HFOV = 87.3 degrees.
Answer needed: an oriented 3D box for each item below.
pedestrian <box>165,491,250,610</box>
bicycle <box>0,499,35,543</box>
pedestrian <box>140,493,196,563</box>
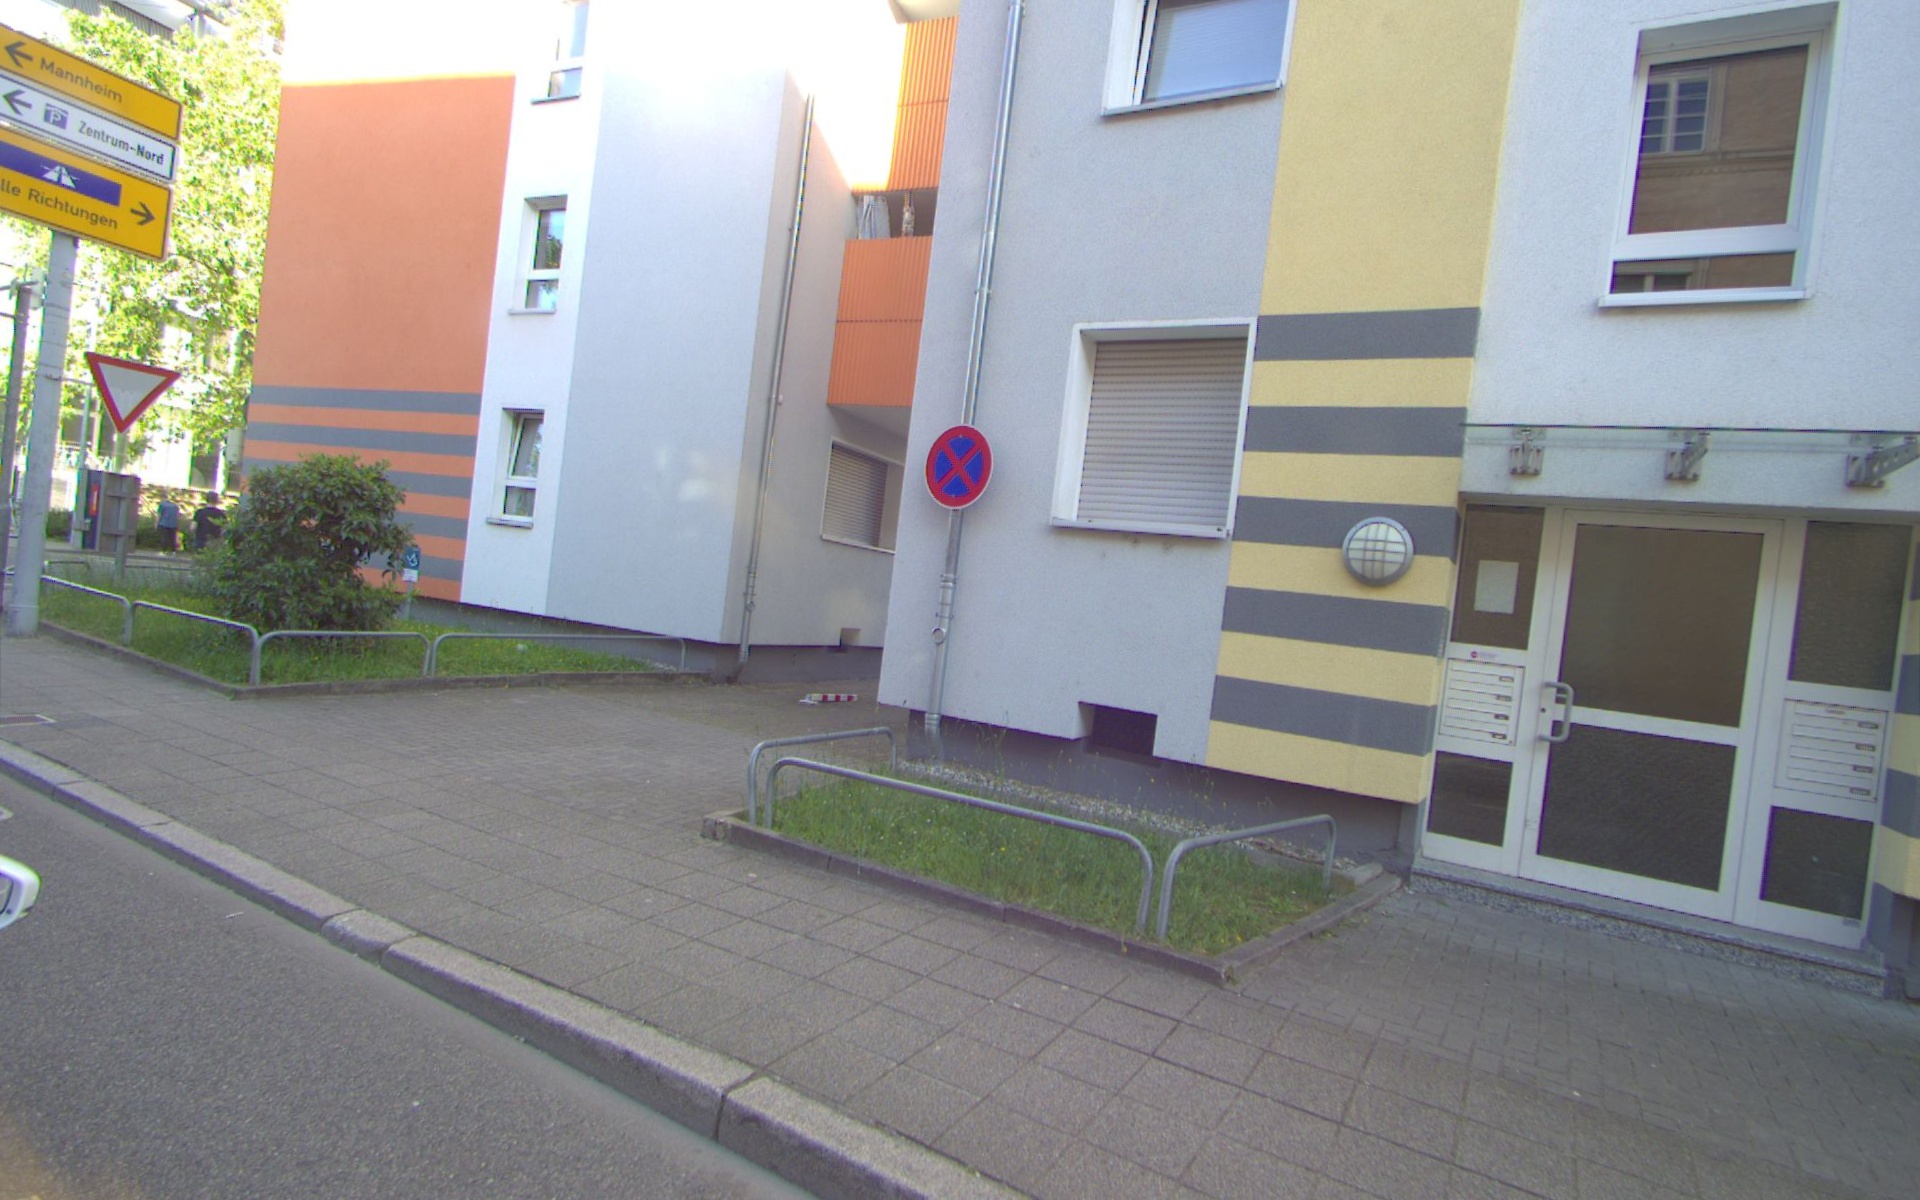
[{"bbox_3d":[-12.785,-0.834,17.090,0.823,1.861,0.708,8,-1,32],"label":"pedestrian"},{"bbox_3d":[-26.299,-2.225,27.356,1.658,1.063,0.508,9,2,-3],"label":"bicycle"},{"bbox_3d":[-23.088,-2.089,29.334,0.696,1.861,0.837,8,-1,22],"label":"pedestrian"}]
